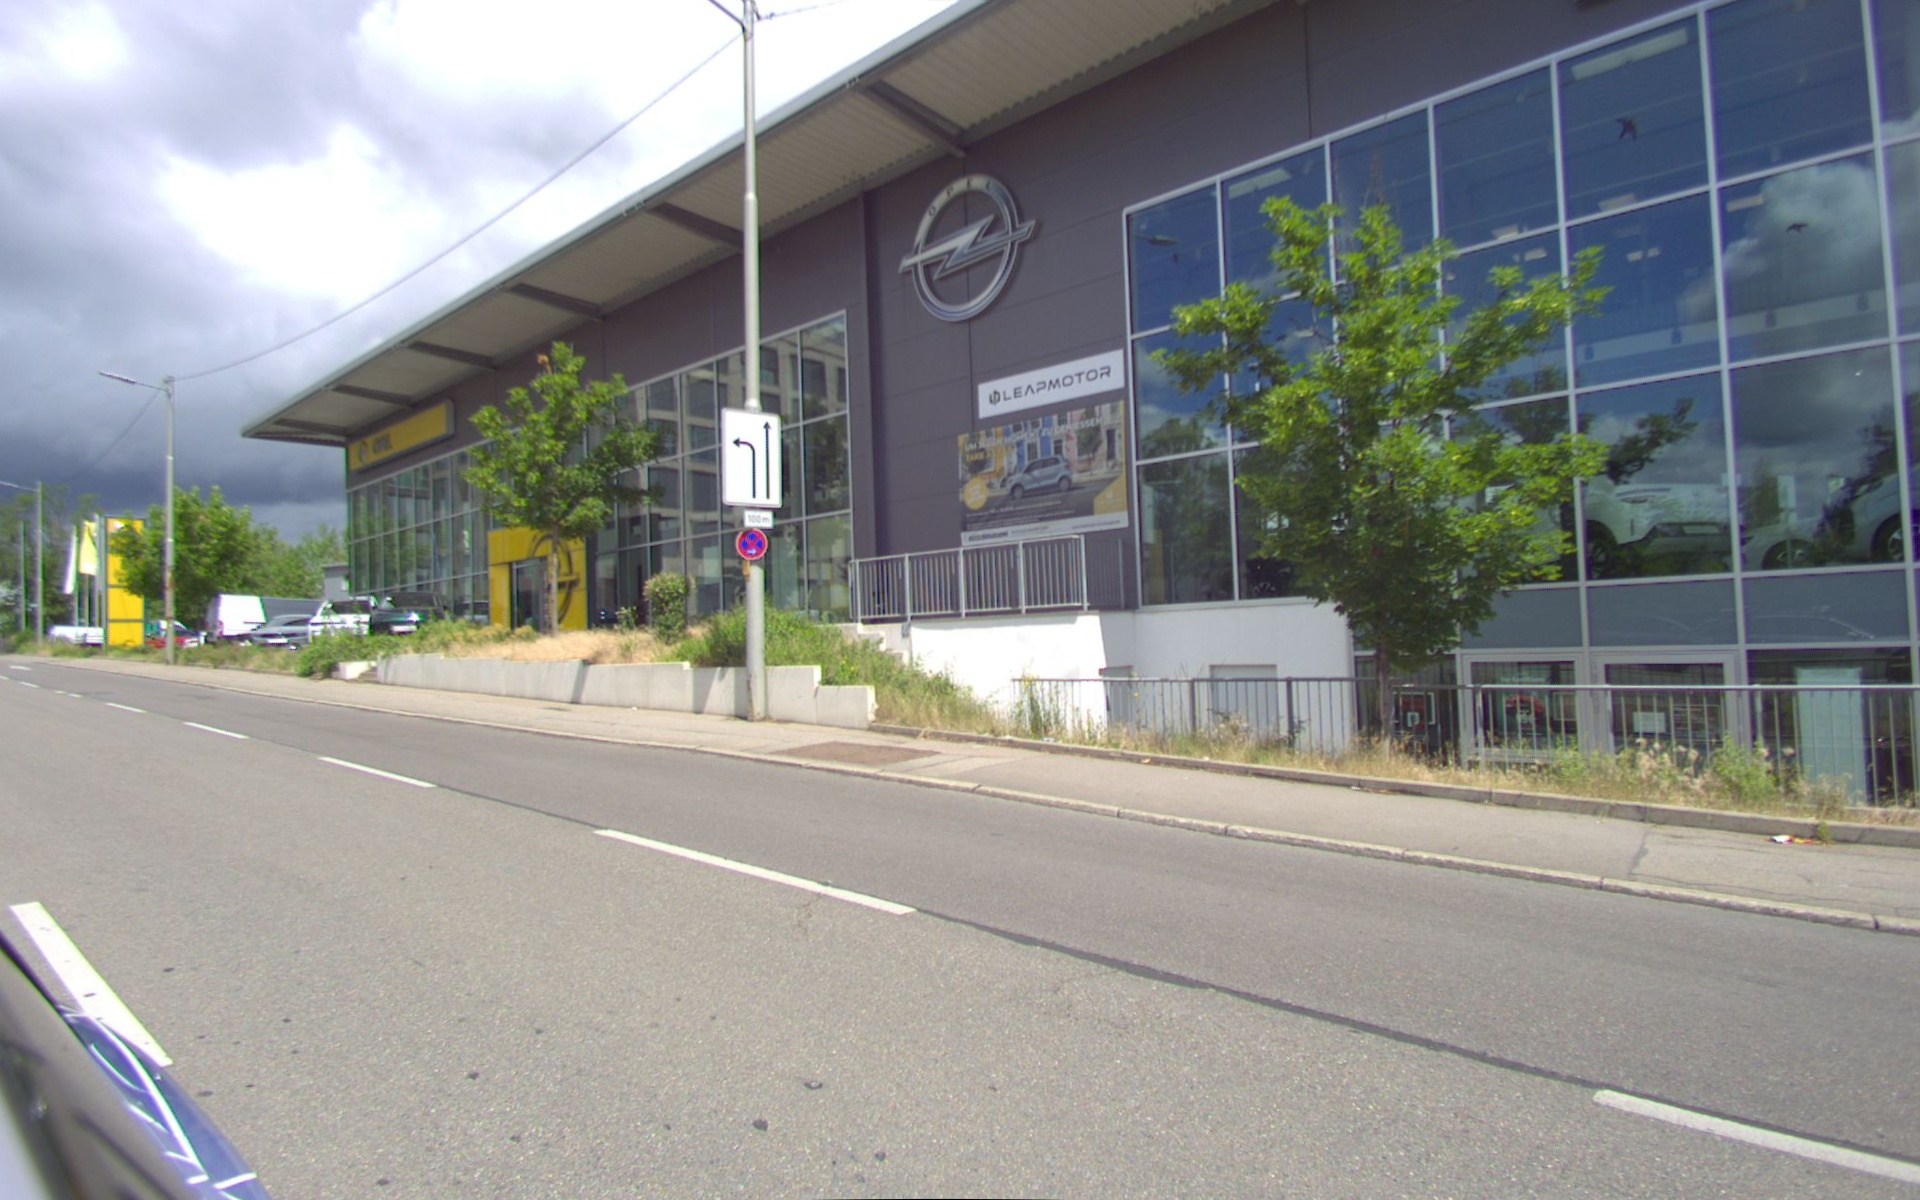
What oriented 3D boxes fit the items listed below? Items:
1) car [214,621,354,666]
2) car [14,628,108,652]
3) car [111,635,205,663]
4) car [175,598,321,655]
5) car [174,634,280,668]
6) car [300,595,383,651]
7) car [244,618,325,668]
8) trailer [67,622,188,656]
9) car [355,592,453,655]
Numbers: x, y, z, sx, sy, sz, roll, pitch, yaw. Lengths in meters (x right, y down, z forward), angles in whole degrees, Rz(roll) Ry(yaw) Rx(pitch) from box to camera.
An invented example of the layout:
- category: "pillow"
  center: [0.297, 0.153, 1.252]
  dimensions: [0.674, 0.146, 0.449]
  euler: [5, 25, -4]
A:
- category: "car"
  center: [-25.742, 1.647, 38.675]
  dimensions: [1.792, 1.625, 4.064]
  euler: [-2, -2, 32]
- category: "car"
  center: [-57.689, 2.535, 64.994]
  dimensions: [2.093, 1.493, 4.200]
  euler: [-2, -2, 38]
- category: "car"
  center: [-42.030, 2.535, 53.099]
  dimensions: [1.814, 1.420, 3.621]
  euler: [-2, -2, 42]
- category: "car"
  center: [-29.386, 1.065, 41.891]
  dimensions: [2.175, 2.211, 4.479]
  euler: [-1, -1, 36]
- category: "car"
  center: [-35.536, 2.454, 49.163]
  dimensions: [1.559, 1.539, 3.897]
  euler: [-2, -2, 38]
- category: "car"
  center: [-19.334, 0.718, 31.797]
  dimensions: [1.767, 1.625, 4.122]
  euler: [0, -1, -25]
- category: "car"
  center: [-23.463, 1.468, 35.271]
  dimensions: [1.767, 1.625, 4.122]
  euler: [1, -2, -26]
- category: "trailer"
  center: [-45.390, 2.087, 55.269]
  dimensions: [2.092, 1.765, 4.776]
  euler: [-2, -2, 37]
- category: "car"
  center: [-15.548, 0.672, 28.504]
  dimensions: [1.790, 1.625, 4.122]
  euler: [0, -2, -20]
